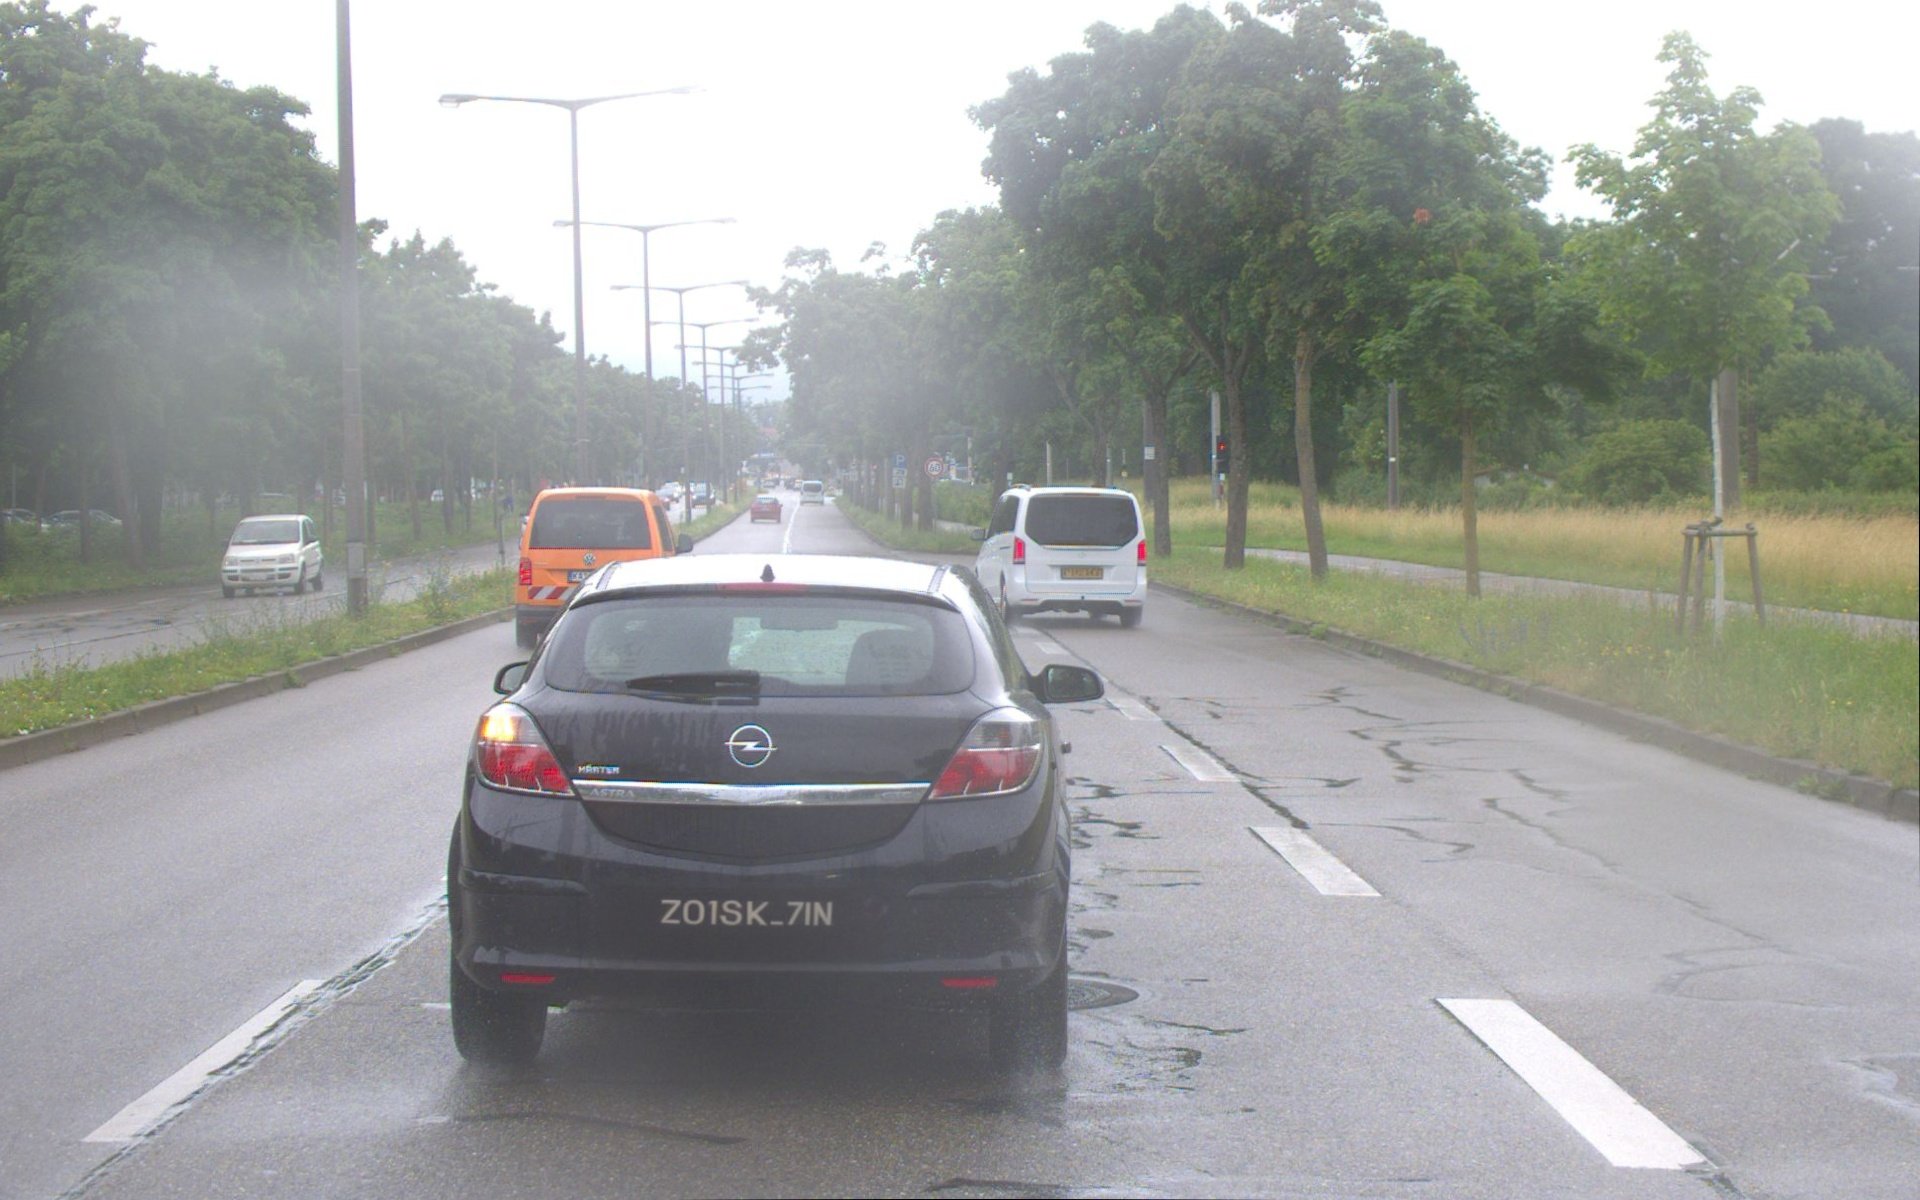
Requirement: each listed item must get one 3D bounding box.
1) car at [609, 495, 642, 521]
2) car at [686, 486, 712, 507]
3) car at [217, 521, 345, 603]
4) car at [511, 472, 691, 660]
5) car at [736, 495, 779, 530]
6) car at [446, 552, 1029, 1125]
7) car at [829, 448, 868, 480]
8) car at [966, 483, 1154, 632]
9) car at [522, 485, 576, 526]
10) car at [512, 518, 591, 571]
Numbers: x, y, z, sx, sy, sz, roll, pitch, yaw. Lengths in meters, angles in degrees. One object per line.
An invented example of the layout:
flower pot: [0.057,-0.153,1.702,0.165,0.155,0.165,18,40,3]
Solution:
car: [-20.349,-5.605,209.202,1.720,1.524,3.810,-1,3,-1]
car: [-19.585,-7.751,257.913,1.720,1.524,3.809,-1,1,-1]
car: [-13.414,-0.765,68.098,1.683,1.548,4.000,1,1,1]
car: [-4.115,-0.416,39.990,1.734,2.012,4.850,1,1,-2]
car: [-11.004,-4.732,186.722,1.993,1.873,4.000,0,1,2]
car: [-0.532,0.583,10.638,1.463,1.324,3.758,0,3,1]
car: [-7.400,-9.013,228.378,2.516,2.045,5.294,2,2,-2]
car: [1.331,-0.598,47.881,2.059,1.968,4.610,0,1,-5]
car: [-16.268,-3.745,136.233,1.720,1.524,3.810,-1,3,-1]
car: [-11.561,-1.588,97.565,1.827,1.445,3.809,-1,2,-1]
